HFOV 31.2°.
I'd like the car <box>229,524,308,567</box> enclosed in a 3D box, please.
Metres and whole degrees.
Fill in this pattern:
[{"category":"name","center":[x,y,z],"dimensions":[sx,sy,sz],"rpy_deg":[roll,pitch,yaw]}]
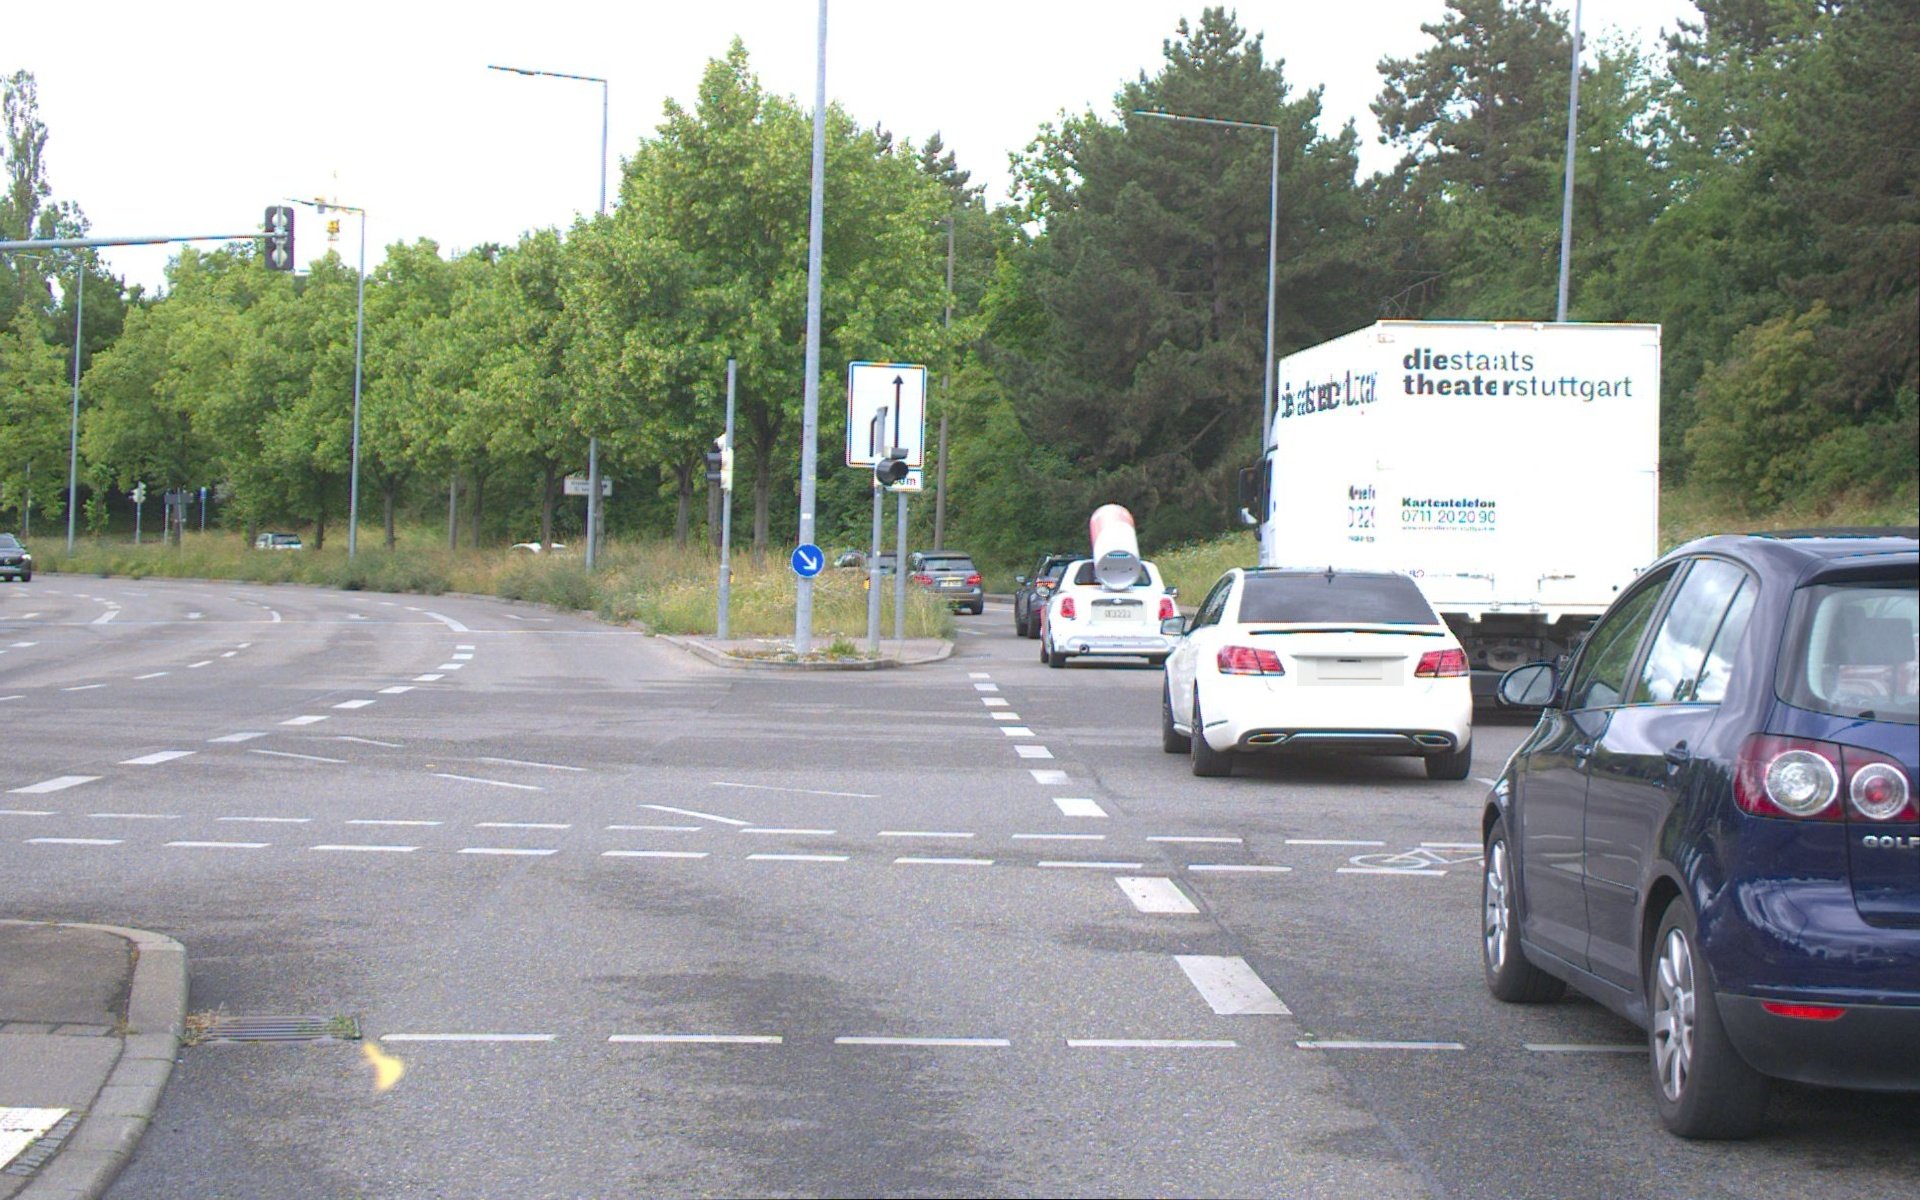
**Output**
[{"category":"car","center":[-27.890,-2.189,138.579],"dimensions":[1.627,1.705,3.803],"rpy_deg":[1,1,-36]}]

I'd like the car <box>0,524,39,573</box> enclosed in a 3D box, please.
[{"category":"car","center":[-31.843,-1.706,113.681],"dimensions":[1.794,1.582,4.000],"rpy_deg":[1,1,-29]}]

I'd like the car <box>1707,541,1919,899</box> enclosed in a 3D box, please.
[{"category":"car","center":[5.064,0.503,16.685],"dimensions":[1.847,1.525,4.377],"rpy_deg":[1,1,-1]}]

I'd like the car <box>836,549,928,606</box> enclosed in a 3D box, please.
[{"category":"car","center":[-2.184,-0.640,94.892],"dimensions":[1.746,1.503,4.001],"rpy_deg":[1,1,-13]}]

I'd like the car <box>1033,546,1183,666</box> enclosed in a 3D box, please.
[{"category":"car","center":[1.921,0.048,45.559],"dimensions":[1.821,1.500,3.494],"rpy_deg":[1,1,0]}]

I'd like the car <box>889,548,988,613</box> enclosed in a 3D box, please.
[{"category":"car","center":[-0.544,-0.495,83.684],"dimensions":[1.746,1.503,4.049],"rpy_deg":[1,1,-10]}]

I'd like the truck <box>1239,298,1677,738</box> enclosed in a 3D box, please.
[{"category":"truck","center":[4.860,-0.855,35.796],"dimensions":[2.802,3.890,10.183],"rpy_deg":[1,1,-1]}]

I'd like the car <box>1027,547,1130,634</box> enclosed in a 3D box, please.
[{"category":"car","center":[2.124,-0.196,62.420],"dimensions":[1.624,1.488,3.838],"rpy_deg":[1,1,-1]}]

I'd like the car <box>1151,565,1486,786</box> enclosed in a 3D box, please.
[{"category":"car","center":[2.445,0.468,24.418],"dimensions":[1.799,1.407,4.318],"rpy_deg":[1,0,-2]}]

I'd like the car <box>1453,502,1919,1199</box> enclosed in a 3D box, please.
[{"category":"car","center":[2.584,0.567,9.886],"dimensions":[1.664,1.593,3.997],"rpy_deg":[1,0,-1]}]
